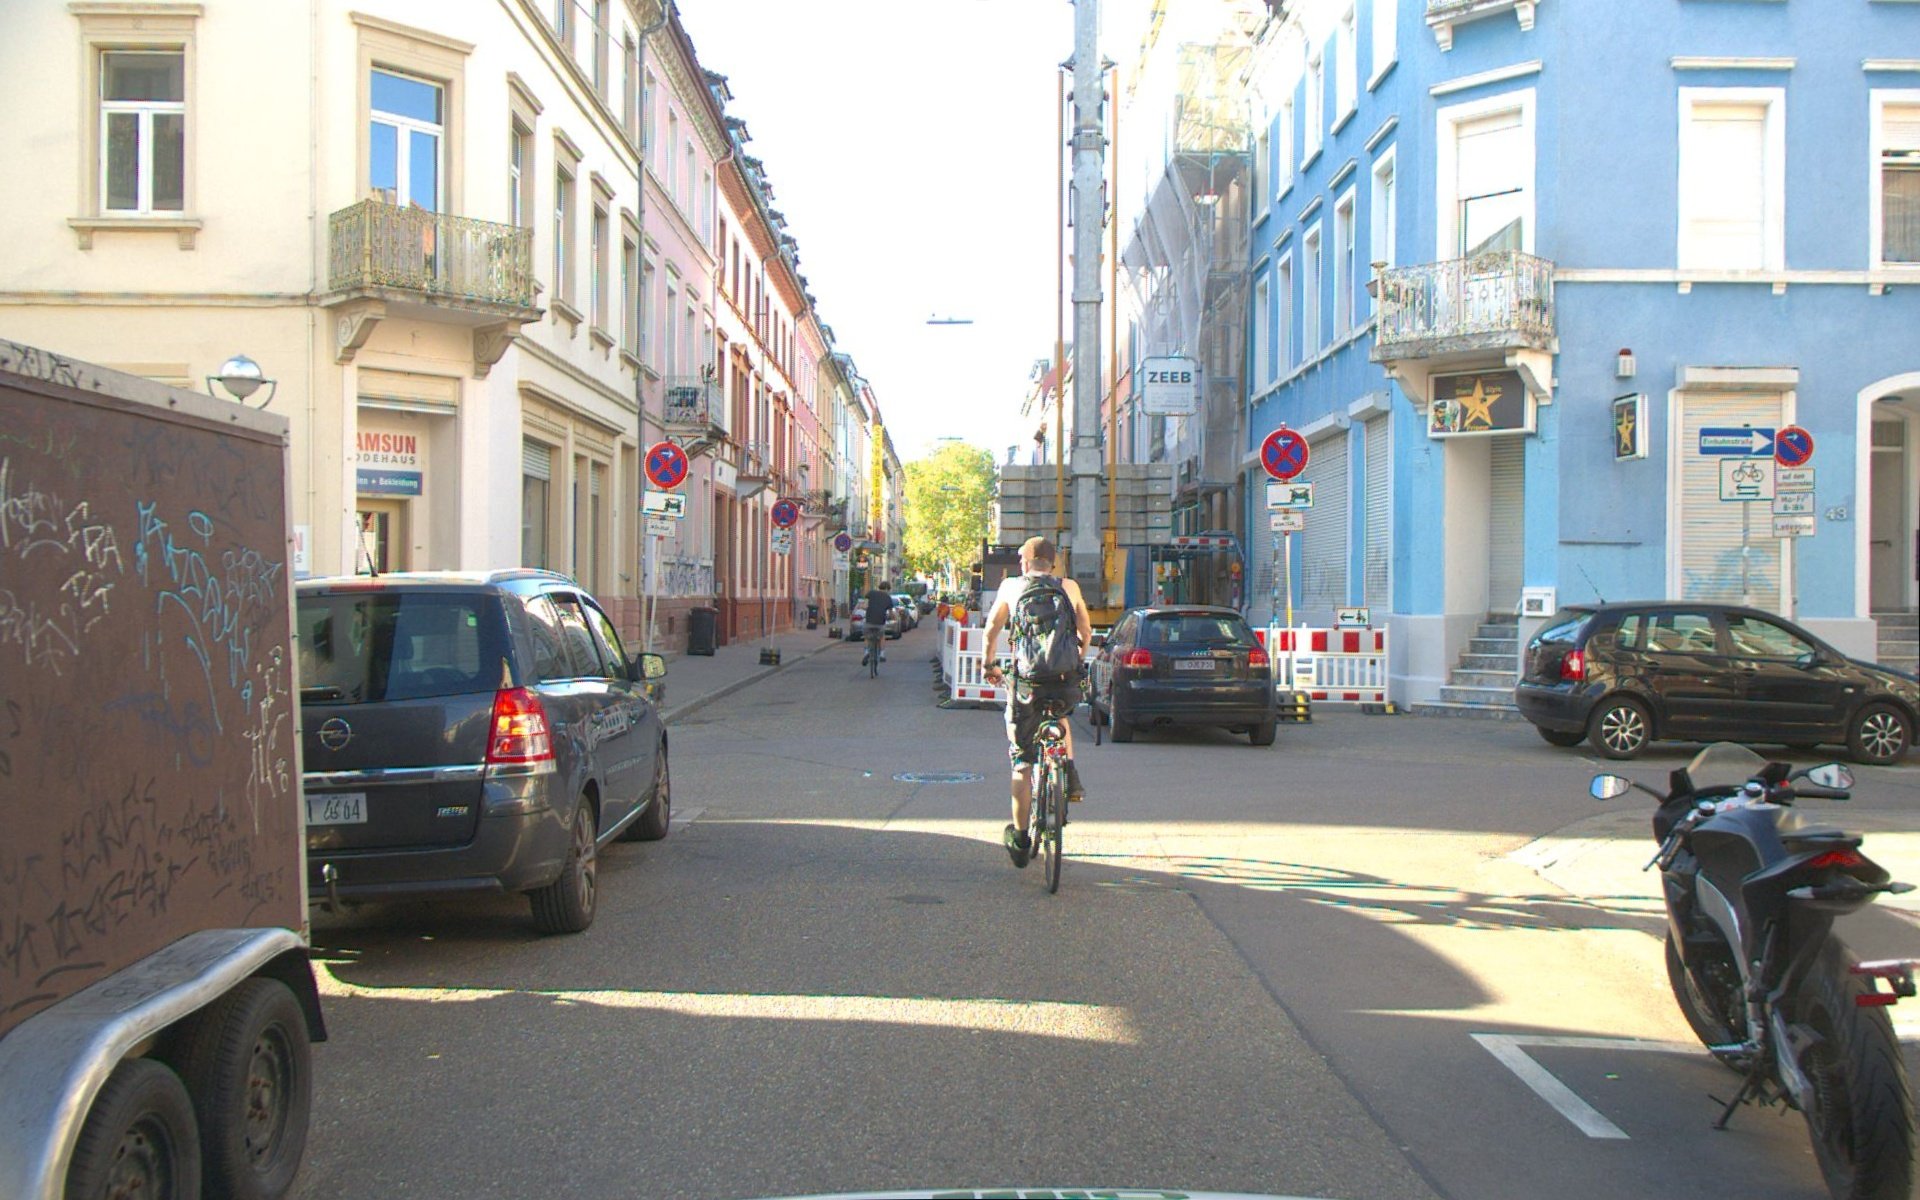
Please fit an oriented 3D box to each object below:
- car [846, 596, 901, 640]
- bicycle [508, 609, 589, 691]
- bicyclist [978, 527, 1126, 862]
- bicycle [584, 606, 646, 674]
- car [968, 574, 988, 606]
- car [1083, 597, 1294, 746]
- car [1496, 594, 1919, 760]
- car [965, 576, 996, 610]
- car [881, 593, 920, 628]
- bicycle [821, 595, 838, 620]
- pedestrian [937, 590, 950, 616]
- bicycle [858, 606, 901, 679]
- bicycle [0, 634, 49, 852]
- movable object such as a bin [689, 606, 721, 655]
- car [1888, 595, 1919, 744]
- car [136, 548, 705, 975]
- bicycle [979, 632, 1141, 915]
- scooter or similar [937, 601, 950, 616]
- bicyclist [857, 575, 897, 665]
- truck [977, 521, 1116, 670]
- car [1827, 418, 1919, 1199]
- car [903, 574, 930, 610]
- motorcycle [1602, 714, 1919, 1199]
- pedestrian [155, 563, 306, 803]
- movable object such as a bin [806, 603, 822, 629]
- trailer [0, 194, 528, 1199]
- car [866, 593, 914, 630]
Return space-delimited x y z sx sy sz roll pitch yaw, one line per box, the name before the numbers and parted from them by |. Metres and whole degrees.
car | -2.986 0.617 57.576 1.676 1.407 4.505 -2 0 -1
bicycle | -5.680 0.676 22.908 0.591 1.040 1.818 4 -1 0
bicyclist | 0.467 0.469 8.830 0.687 1.662 1.090 1 0 0
bicycle | -5.724 0.644 27.512 0.609 1.040 1.818 2 0 0
car | 2.240 -1.213 206.939 2.261 3.833 6.769 -2 0 -1
car | 2.446 0.717 18.639 1.735 1.459 4.033 1 0 -1
car | 7.364 0.704 16.028 3.788 1.479 1.677 1 0 0
car | 1.643 -0.542 133.677 2.261 2.582 6.769 -2 0 -1
car | -2.677 0.477 75.189 1.638 1.467 4.165 -2 0 -1
bicycle | -6.056 0.355 76.912 0.580 1.108 2.079 1 0 0
pedestrian | -1.032 0.187 103.788 0.755 1.606 0.900 1 0 -1
bicycle | -1.477 0.763 30.646 0.687 1.229 2.342 -1 1 -1
bicycle | -7.362 0.920 10.691 2.425 1.383 0.928 0 0 0
movable object such as a bin | -5.562 0.674 36.143 0.593 1.053 0.596 1 -2 -2
car | 11.728 0.739 16.085 4.377 1.459 1.757 1 2 1
car | -2.434 0.607 8.582 1.687 1.633 4.165 -1 1 -2
bicycle | 0.475 0.823 8.809 0.687 1.229 2.342 1 0 0
scooter or similar | -1.030 0.529 103.334 0.755 0.888 0.770 1 0 -1
bicyclist | -1.534 0.361 30.598 0.687 1.633 0.812 -1 1 -1
truck | 1.755 -0.078 36.340 2.607 2.863 7.392 1 0 0
car | 2.677 0.566 1.218 1.713 1.848 4.369 -1 0 -1
car | -3.237 -0.592 122.496 1.871 2.540 4.163 -1 0 -2
motorcycle | 2.474 0.971 4.805 0.703 1.105 1.998 3 0 10
pedestrian | -5.635 0.614 12.825 0.679 1.730 0.865 4 2 -1
movable object such as a bin | -5.611 0.614 63.672 0.532 0.961 0.487 1 0 0
trailer | -2.421 0.422 4.282 1.628 2.097 4.361 -1 0 -3
car | -2.869 0.439 68.548 1.675 1.407 4.357 0 1 2
